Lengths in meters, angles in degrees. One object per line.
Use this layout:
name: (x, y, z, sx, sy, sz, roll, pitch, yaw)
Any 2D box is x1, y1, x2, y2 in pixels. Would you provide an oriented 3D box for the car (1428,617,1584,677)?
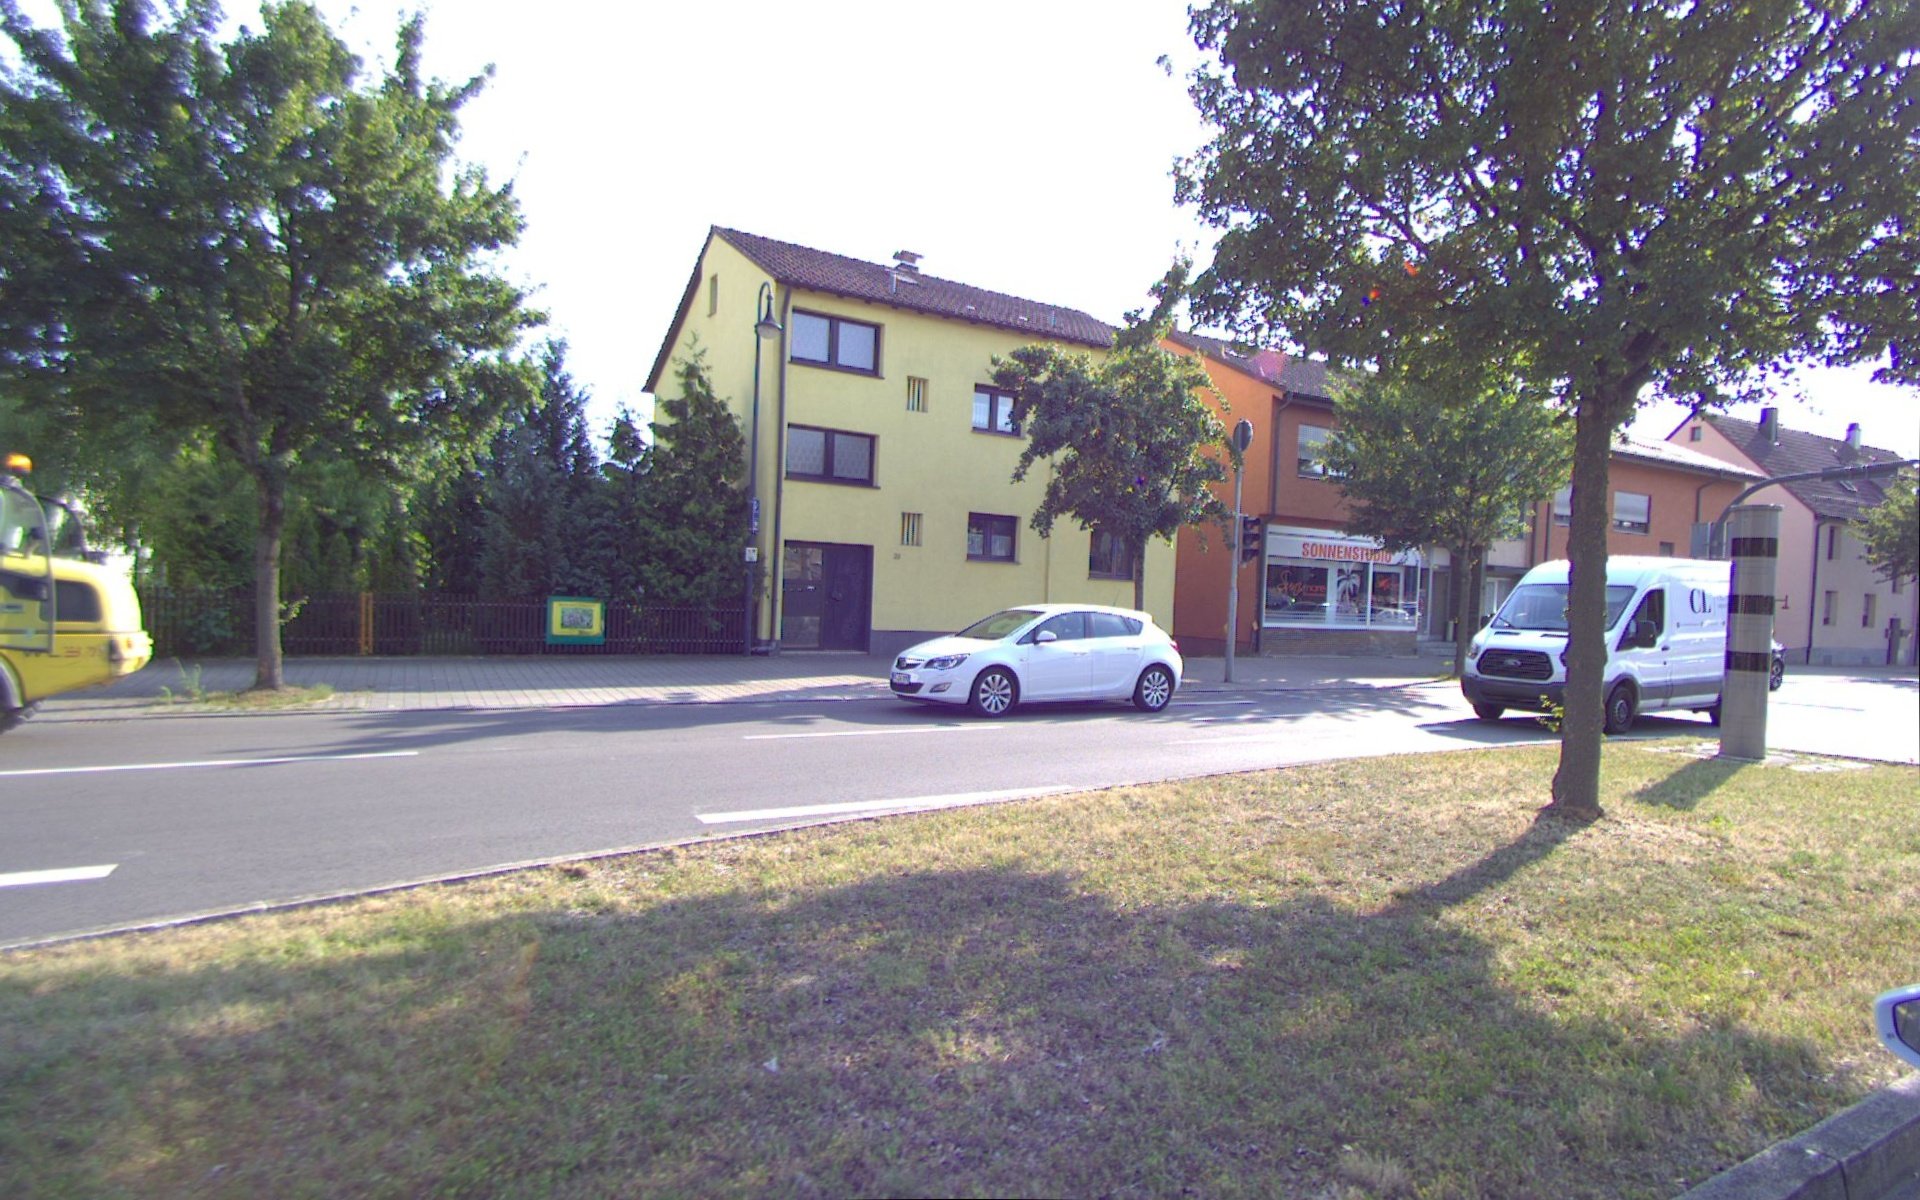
car: (14.377, 1.229, 26.407, 3.893, 1.433, 1.788, 2, 0, -29)

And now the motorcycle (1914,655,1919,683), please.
motorcycle: (31.374, 2.225, 32.360, 1.742, 0.872, 0.410, 2, 0, -29)

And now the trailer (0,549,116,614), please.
trailer: (-18.490, -0.399, 19.339, 2.131, 1.127, 3.358, 2, 1, -14)

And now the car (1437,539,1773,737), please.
car: (9.747, 0.530, 15.035, 5.418, 2.509, 2.073, 2, 0, -32)

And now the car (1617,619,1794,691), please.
car: (18.710, 1.343, 25.179, 4.404, 1.617, 1.847, 2, 0, -28)

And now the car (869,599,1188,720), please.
car: (0.993, 0.776, 13.952, 4.162, 1.433, 1.684, 2, 0, -29)

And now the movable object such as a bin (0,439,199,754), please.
movable object such as a bin: (-9.251, -0.070, 7.925, 4.916, 2.494, 1.546, 2, 0, -29)
